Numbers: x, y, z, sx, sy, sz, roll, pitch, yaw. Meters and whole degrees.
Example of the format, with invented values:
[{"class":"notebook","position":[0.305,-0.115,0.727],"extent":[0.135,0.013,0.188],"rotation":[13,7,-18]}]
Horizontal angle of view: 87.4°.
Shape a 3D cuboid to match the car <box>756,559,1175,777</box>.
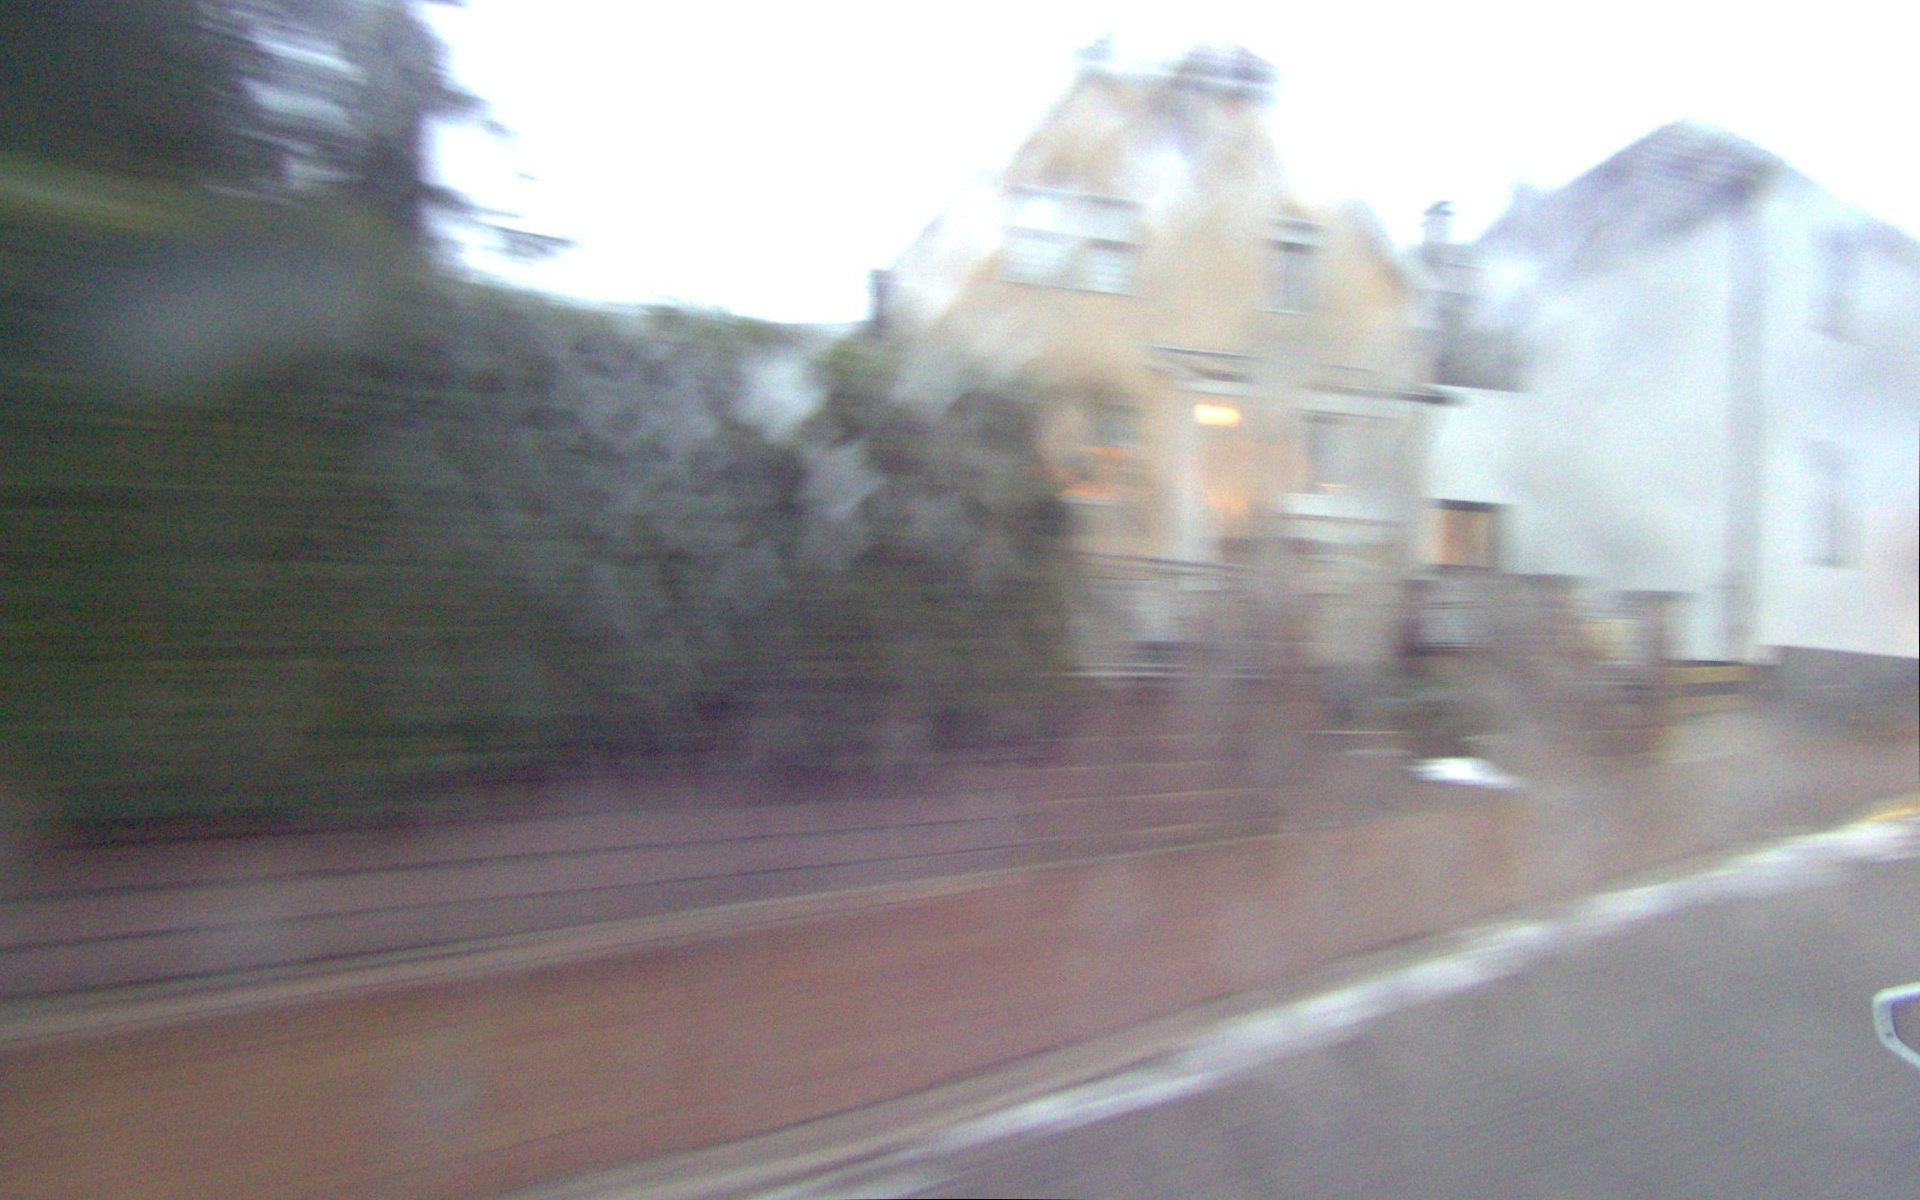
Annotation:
[{"class":"car","position":[-0.008,0.511,9.708],"extent":[3.575,1.677,1.905],"rotation":[3,1,36]}]
